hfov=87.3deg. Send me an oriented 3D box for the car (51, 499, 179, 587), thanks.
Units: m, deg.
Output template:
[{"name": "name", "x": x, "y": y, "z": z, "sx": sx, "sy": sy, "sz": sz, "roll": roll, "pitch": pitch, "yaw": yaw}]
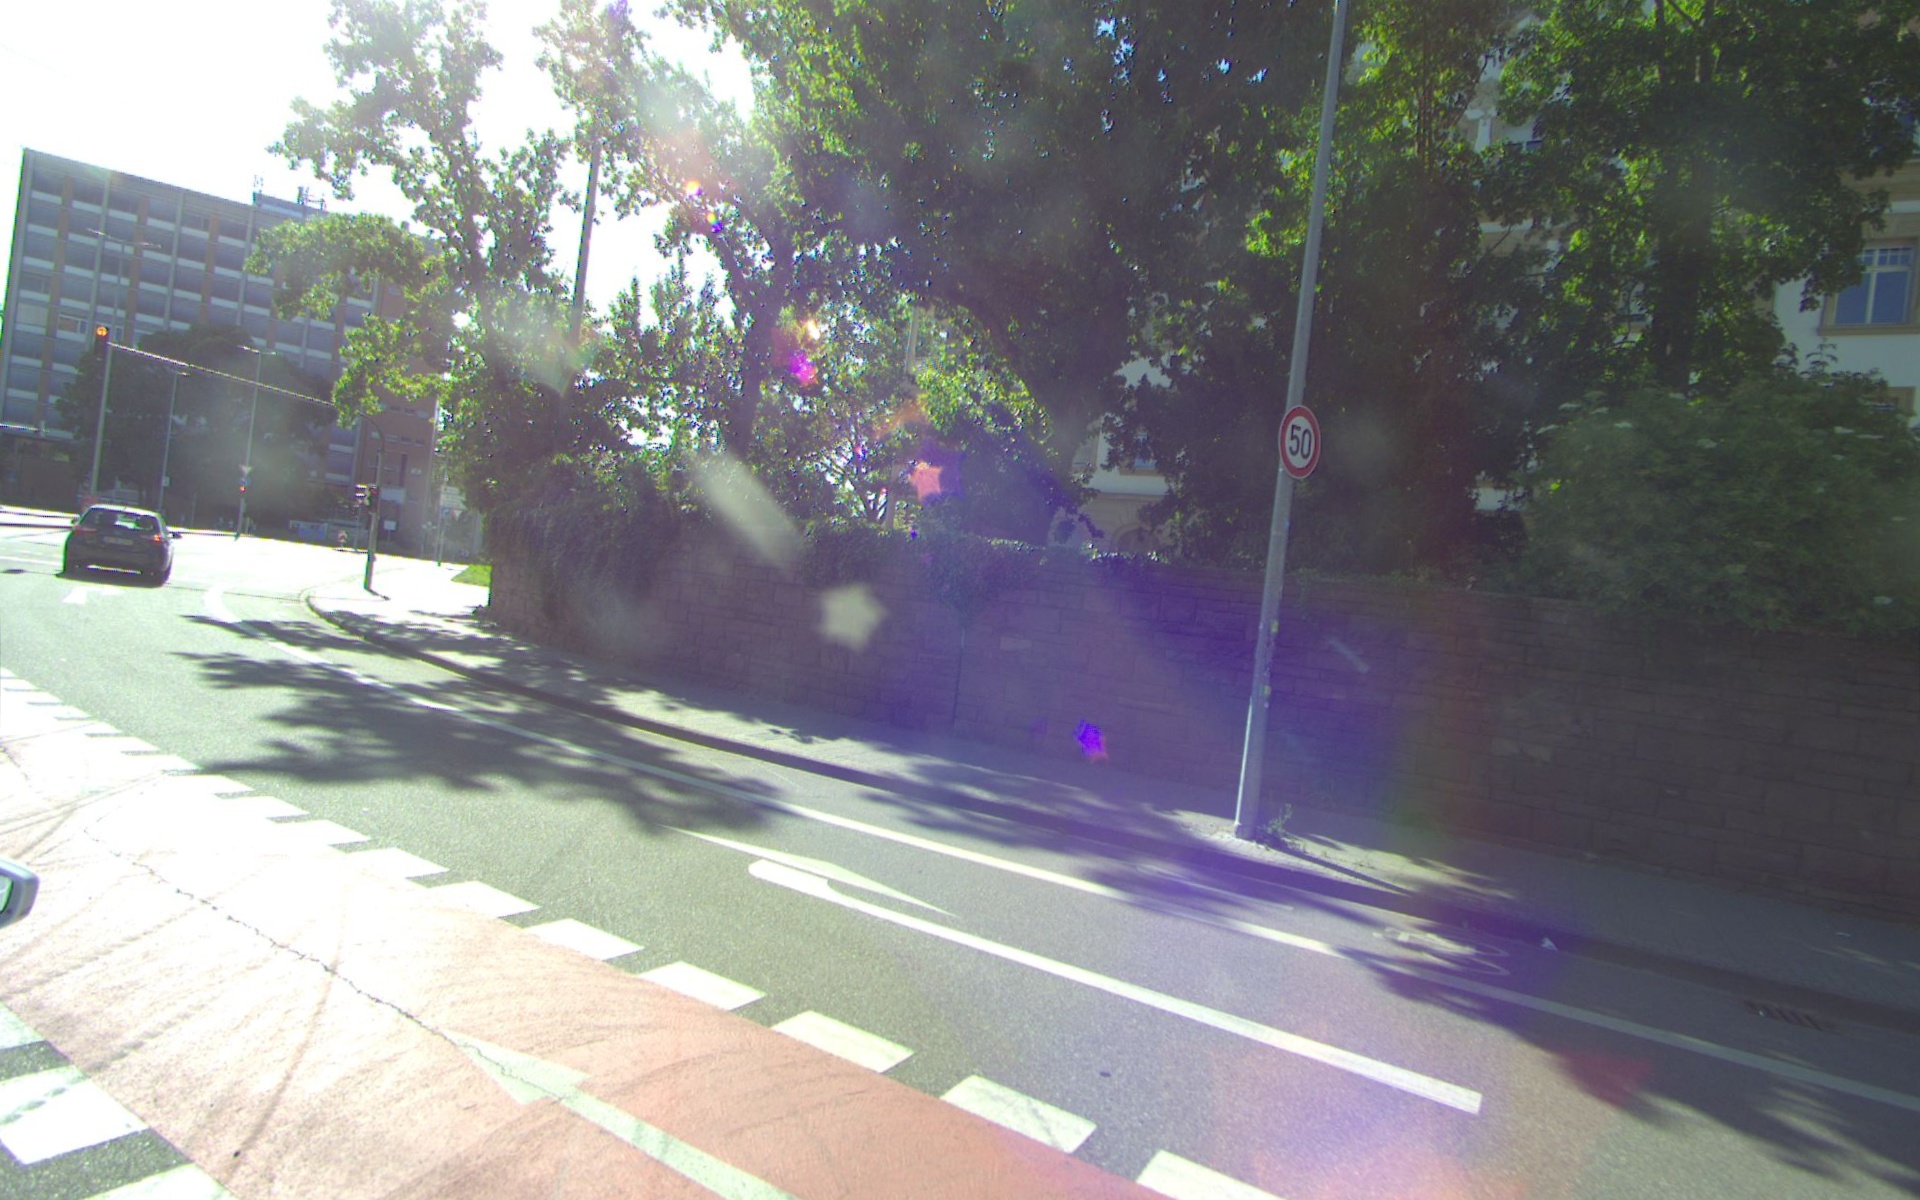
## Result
[{"name": "car", "x": -18.592, "y": -1.263, "z": 22.282, "sx": 1.781, "sy": 1.528, "sz": 3.675, "roll": 9, "pitch": -2, "yaw": -37}]
